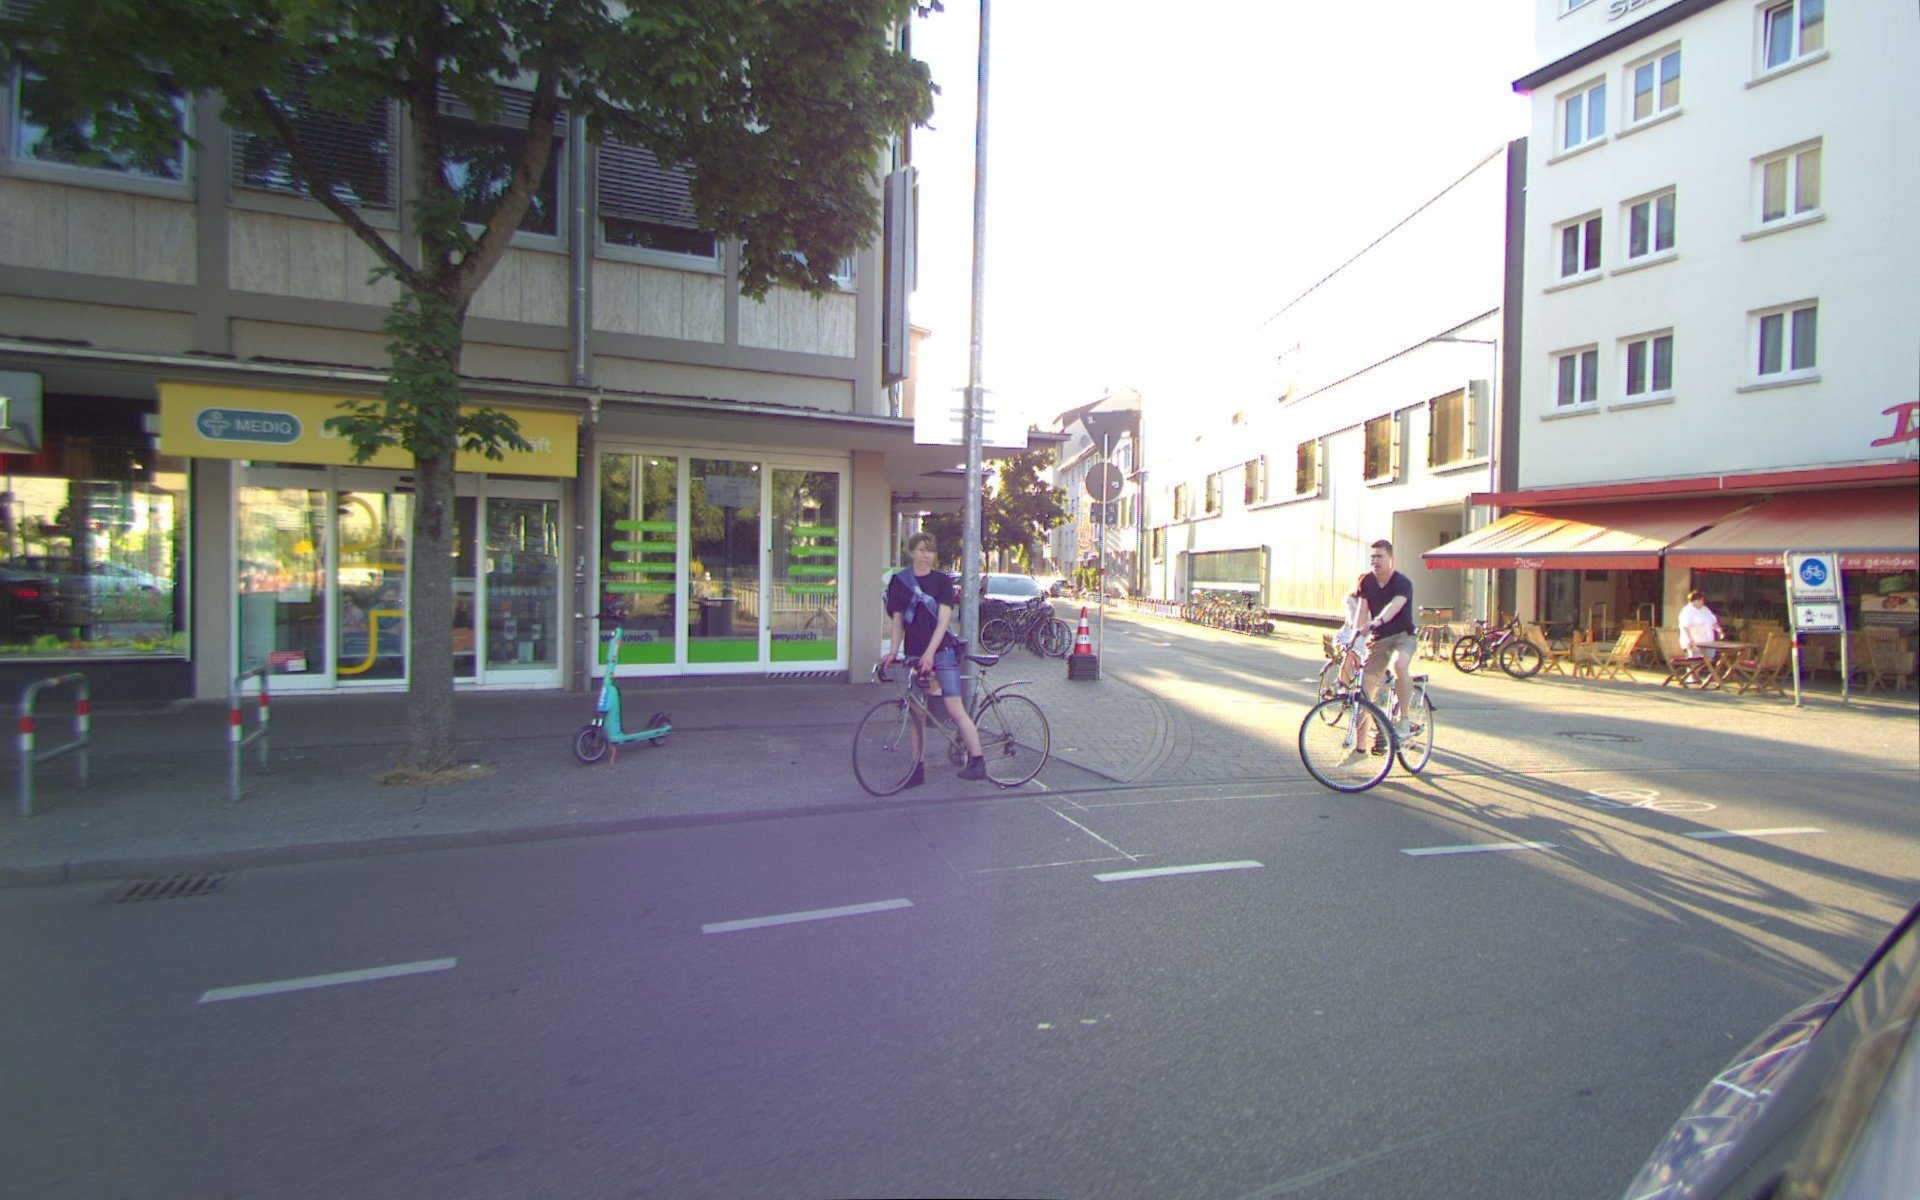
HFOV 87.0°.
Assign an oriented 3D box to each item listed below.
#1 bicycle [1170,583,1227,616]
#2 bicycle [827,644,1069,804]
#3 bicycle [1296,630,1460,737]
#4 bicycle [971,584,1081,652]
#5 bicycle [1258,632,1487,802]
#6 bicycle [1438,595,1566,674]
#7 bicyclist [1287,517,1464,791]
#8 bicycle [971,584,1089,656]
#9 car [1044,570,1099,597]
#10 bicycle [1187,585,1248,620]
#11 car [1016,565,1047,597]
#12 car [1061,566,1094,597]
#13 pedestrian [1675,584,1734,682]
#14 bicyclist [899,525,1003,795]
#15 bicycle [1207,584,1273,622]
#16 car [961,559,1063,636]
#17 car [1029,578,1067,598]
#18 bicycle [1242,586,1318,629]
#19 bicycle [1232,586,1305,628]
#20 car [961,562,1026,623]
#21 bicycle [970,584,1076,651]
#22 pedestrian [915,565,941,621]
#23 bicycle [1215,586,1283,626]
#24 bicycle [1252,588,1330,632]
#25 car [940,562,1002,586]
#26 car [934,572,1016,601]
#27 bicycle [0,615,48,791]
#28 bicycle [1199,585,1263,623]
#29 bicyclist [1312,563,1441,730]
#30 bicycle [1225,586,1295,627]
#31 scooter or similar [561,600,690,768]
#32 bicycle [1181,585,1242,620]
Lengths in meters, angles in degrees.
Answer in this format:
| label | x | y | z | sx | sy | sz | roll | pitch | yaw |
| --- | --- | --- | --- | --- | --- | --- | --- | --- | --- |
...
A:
| label | x | y | z | sx | sy | sz | roll | pitch | yaw |
| --- | --- | --- | --- | --- | --- | --- | --- | --- | --- |
| bicycle | 9.645 | -0.007 | 40.880 | 2.069 | 1.235 | 0.705 | 2 | 1 | -9 |
| bicycle | -0.051 | 0.844 | 7.316 | 1.765 | 0.982 | 0.466 | 0 | 1 | -33 |
| bicycle | 4.302 | 0.824 | 10.611 | 0.824 | 0.892 | 2.014 | 1 | 1 | -1 |
| bicycle | 1.288 | 0.353 | 20.015 | 2.072 | 1.235 | 0.705 | 2 | 1 | -2 |
| bicycle | 3.250 | 0.828 | 7.873 | 2.042 | 1.032 | 0.839 | -1 | 2 | -42 |
| bicycle | 9.960 | 0.598 | 18.703 | 0.689 | 1.303 | 2.118 | 1 | 1 | -22 |
| bicyclist | 3.222 | 0.369 | 7.839 | 1.095 | 1.941 | 0.839 | 0 | 1 | -41 |
| bicycle | 1.290 | 0.356 | 18.898 | 2.072 | 1.235 | 0.705 | 2 | 1 | -2 |
| car | 8.430 | -1.258 | 76.738 | 3.925 | 2.039 | 1.999 | 0 | 0 | 1 |
| bicycle | 9.632 | 0.091 | 37.904 | 2.072 | 1.235 | 0.705 | 2 | 1 | -2 |
| car | 4.781 | -1.245 | 67.860 | 1.963 | 2.039 | 3.997 | 0 | 0 | 3 |
| car | 8.017 | -1.241 | 69.312 | 1.963 | 2.039 | 4.255 | 0 | 0 | 3 |
| pedestrian | 12.207 | 0.520 | 16.589 | 0.562 | 1.560 | 0.573 | 0 | 1 | -29 |
| bicyclist | -0.068 | 0.409 | 7.292 | 0.548 | 1.853 | 0.466 | 1 | 1 | -33 |
| bicycle | 9.839 | 0.110 | 35.599 | 2.072 | 1.235 | 0.705 | 2 | 1 | -2 |
| car | 1.222 | -0.110 | 25.642 | 1.855 | 1.771 | 4.006 | 1 | 1 | -7 |
| car | 8.316 | -1.162 | 95.734 | 3.396 | 1.867 | 1.609 | 0 | 0 | -2 |
| bicycle | 9.985 | 0.234 | 31.610 | 2.072 | 1.235 | 0.705 | 2 | 1 | -2 |
| bicycle | 9.884 | 0.211 | 32.427 | 2.072 | 1.235 | 0.705 | 2 | 1 | -2 |
| car | 1.017 | -0.290 | 32.693 | 1.858 | 1.771 | 4.434 | 3 | 1 | 0 |
| bicycle | 1.313 | 0.359 | 21.263 | 2.072 | 1.235 | 0.705 | 4 | 1 | -2 |
| pedestrian | -0.931 | -0.207 | 29.120 | 0.664 | 1.545 | 0.600 | 2 | 1 | -4 |
| bicycle | 9.899 | 0.200 | 34.706 | 2.072 | 1.235 | 0.705 | 2 | 1 | -2 |
| bicycle | 10.037 | 0.288 | 30.728 | 2.072 | 1.235 | 0.705 | 2 | 1 | -2 |
| car | 0.769 | -1.830 | 72.077 | 3.919 | 1.627 | 2.003 | 0 | 1 | -29 |
| car | 0.795 | -0.711 | 52.962 | 3.928 | 1.449 | 1.999 | 0 | 2 | -39 |
| bicycle | -6.418 | 0.689 | 5.950 | 0.654 | 1.124 | 2.007 | 1 | 1 | -12 |
| bicycle | 9.767 | 0.137 | 36.524 | 2.072 | 1.235 | 0.705 | 2 | 1 | -2 |
| bicyclist | 4.319 | 0.449 | 10.577 | 0.824 | 1.643 | 1.115 | 1 | 1 | -1 |
| bicycle | 9.950 | 0.211 | 33.613 | 2.072 | 1.235 | 0.705 | 2 | 1 | -2 |
| scooter or similar | -2.727 | 0.640 | 8.363 | 0.334 | 1.250 | 1.271 | 1 | 1 | 16 |
| bicycle | 9.595 | 0.085 | 38.656 | 2.072 | 1.235 | 0.705 | 2 | 1 | -2 |
